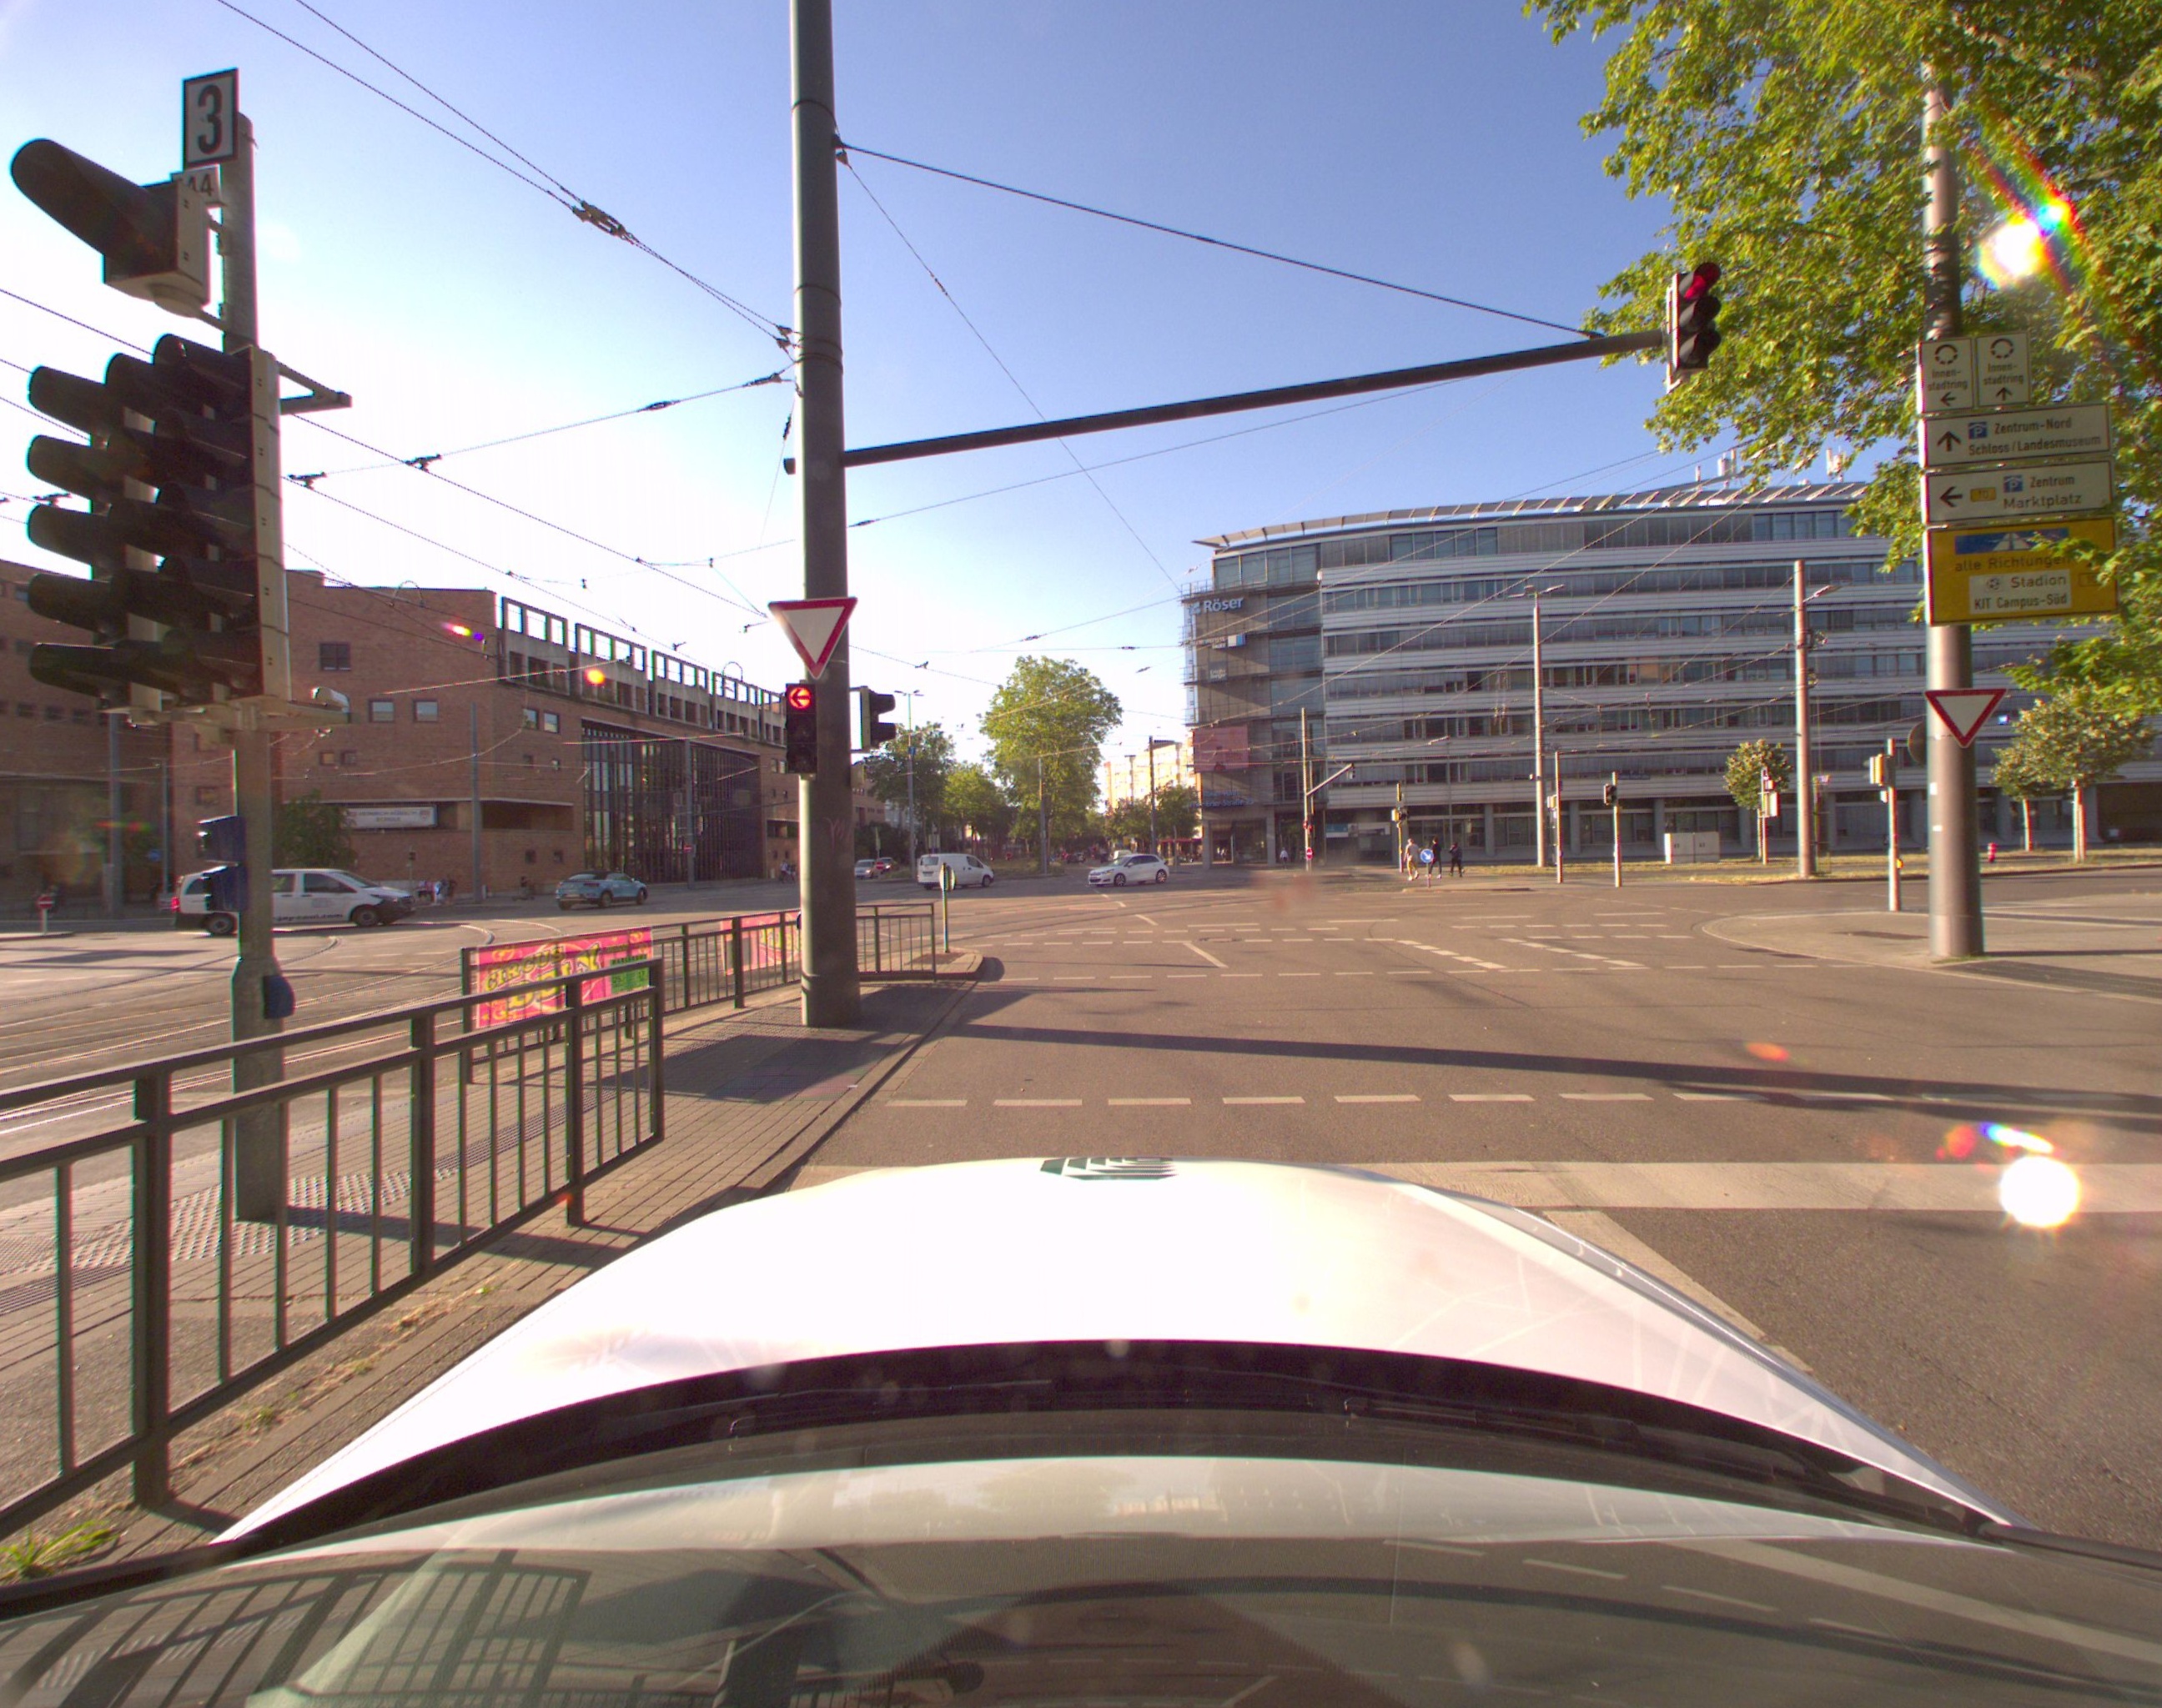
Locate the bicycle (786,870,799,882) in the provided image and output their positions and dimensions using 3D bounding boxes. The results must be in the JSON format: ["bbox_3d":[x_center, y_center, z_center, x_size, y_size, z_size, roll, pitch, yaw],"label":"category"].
[{"bbox_3d":[-23.563,1.791,66.573,0.471,0.963,1.576,-2,0,2],"label":"bicycle"}]

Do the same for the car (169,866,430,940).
[{"bbox_3d":[-23.521,1.404,24.860,5.340,1.848,1.951,-2,0,-26],"label":"car"}]

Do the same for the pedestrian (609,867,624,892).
[{"bbox_3d":[-32.175,1.762,56.388,0.606,1.625,0.621,-2,0,16],"label":"pedestrian"}]

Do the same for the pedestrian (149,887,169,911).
[{"bbox_3d":[-58.909,2.856,52.043,0.532,1.463,0.589,-2,0,-11],"label":"pedestrian"}]

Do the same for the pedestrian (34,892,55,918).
[{"bbox_3d":[-59.980,2.929,47.126,0.508,1.463,0.466,-2,0,-6],"label":"pedestrian"}]

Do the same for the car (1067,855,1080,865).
[{"bbox_3d":[-1.213,0.875,126.450,1.791,1.442,4.002,-2,0,2],"label":"car"}]

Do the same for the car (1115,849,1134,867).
[{"bbox_3d":[4.746,0.448,89.645,1.986,1.860,4.002,-2,0,2],"label":"car"}]

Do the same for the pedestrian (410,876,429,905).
[{"bbox_3d":[-38.465,2.130,47.341,0.594,1.614,0.589,-2,0,1],"label":"pedestrian"}]

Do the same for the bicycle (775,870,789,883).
[{"bbox_3d":[-24.340,1.848,66.319,0.540,0.963,1.587,-2,0,2],"label":"bicycle"}]

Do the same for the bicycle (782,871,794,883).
[{"bbox_3d":[-24.954,1.973,69.318,0.466,0.963,1.320,-2,0,2],"label":"bicycle"}]

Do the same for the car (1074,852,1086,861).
[{"bbox_3d":[-0.168,0.464,139.403,1.791,1.442,4.002,-2,0,2],"label":"car"}]

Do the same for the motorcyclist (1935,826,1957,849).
[{"bbox_3d":[49.536,-0.953,46.624,0.708,1.275,0.460,-2,0,5],"label":"motorcyclist"}]

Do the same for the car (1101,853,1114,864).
[{"bbox_3d":[4.097,0.655,126.783,1.986,1.618,4.002,-2,0,2],"label":"car"}]

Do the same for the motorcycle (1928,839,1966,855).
[{"bbox_3d":[49.545,-0.394,46.612,1.560,0.810,0.468,-2,0,6],"label":"motorcycle"}]

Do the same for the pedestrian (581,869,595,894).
[{"bbox_3d":[-33.740,1.851,55.706,0.569,1.683,0.550,-2,0,3],"label":"pedestrian"}]

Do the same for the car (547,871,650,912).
[{"bbox_3d":[-19.664,1.505,33.391,1.621,1.426,4.105,-2,0,2],"label":"car"}]

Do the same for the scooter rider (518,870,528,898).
[{"bbox_3d":[-33.710,1.798,49.191,0.441,1.647,0.226,-2,0,-44],"label":"scooter rider"}]

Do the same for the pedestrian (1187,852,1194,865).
[{"bbox_3d":[14.135,0.564,104.788,0.741,1.714,0.612,-2,0,1],"label":"pedestrian"}]

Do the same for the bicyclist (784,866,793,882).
[{"bbox_3d":[-24.930,1.705,69.378,0.503,1.304,0.581,-2,0,1],"label":"bicyclist"}]

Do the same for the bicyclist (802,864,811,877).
[{"bbox_3d":[-24.377,1.458,72.317,0.503,1.179,0.581,-2,0,1],"label":"bicyclist"}]

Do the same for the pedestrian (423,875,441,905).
[{"bbox_3d":[-37.553,2.072,47.127,0.597,1.648,0.549,-2,0,1],"label":"pedestrian"}]

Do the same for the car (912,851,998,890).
[{"bbox_3d":[-6.564,0.828,42.867,1.738,1.867,4.554,-2,0,35],"label":"car"}]

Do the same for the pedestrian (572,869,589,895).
[{"bbox_3d":[-33.540,1.879,54.570,0.644,1.683,0.624,-2,0,13],"label":"pedestrian"}]

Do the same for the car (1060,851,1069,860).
[{"bbox_3d":[-4.048,0.413,201.855,1.986,2.013,4.001,-2,0,1],"label":"car"}]

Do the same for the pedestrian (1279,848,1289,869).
[{"bbox_3d":[14.795,0.323,59.299,0.609,1.507,0.580,-2,0,5],"label":"pedestrian"}]

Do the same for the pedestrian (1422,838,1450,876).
[{"bbox_3d":[16.365,0.145,37.570,0.907,1.685,1.038,-2,0,9],"label":"pedestrian"}]

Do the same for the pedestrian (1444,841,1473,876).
[{"bbox_3d":[17.336,0.198,37.435,0.943,1.564,0.899,-2,0,9],"label":"pedestrian"}]

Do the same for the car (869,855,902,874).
[{"bbox_3d":[-18.114,0.957,75.534,1.987,1.640,4.001,-2,0,1],"label":"car"}]

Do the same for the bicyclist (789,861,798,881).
[{"bbox_3d":[-23.544,1.382,66.607,0.456,1.603,0.581,-2,0,1],"label":"bicyclist"}]

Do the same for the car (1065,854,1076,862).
[{"bbox_3d":[-1.909,0.794,147.455,1.792,1.442,3.999,0,-1,0],"label":"car"}]

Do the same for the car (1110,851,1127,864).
[{"bbox_3d":[4.824,0.476,105.301,1.986,1.618,4.002,-2,0,2],"label":"car"}]

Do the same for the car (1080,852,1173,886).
[{"bbox_3d":[2.269,0.705,40.009,4.326,1.488,1.743,-2,0,-33],"label":"car"}]

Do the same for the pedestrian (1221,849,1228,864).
[{"bbox_3d":[14.104,0.245,79.992,0.608,1.507,0.580,-2,0,9],"label":"pedestrian"}]

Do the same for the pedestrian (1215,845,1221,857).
[{"bbox_3d":[21.446,-0.472,127.346,0.741,1.714,0.612,-2,0,1],"label":"pedestrian"}]

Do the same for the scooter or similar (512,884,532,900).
[{"bbox_3d":[-33.727,2.270,49.158,0.956,0.899,0.173,-2,0,-45],"label":"scooter or similar"}]

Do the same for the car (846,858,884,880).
[{"bbox_3d":[-18.004,1.213,67.959,1.987,1.640,4.001,-2,0,1],"label":"car"}]

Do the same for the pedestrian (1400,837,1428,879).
[{"bbox_3d":[14.669,0.173,35.904,0.860,1.788,0.872,-2,0,1],"label":"pedestrian"}]

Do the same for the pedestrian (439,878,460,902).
[{"bbox_3d":[-36.537,2.064,47.101,0.597,1.339,0.684,-2,0,17],"label":"pedestrian"}]

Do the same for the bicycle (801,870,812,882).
[{"bbox_3d":[-24.358,1.942,72.229,0.449,0.963,1.348,-2,0,2],"label":"bicycle"}]

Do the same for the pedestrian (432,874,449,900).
[{"bbox_3d":[-38.036,1.958,48.366,0.568,1.453,0.612,-2,0,-13],"label":"pedestrian"}]

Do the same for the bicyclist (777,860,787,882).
[{"bbox_3d":[-24.316,1.360,66.320,0.534,1.731,0.581,-2,0,1],"label":"bicyclist"}]

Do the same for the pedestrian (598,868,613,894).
[{"bbox_3d":[-31.869,1.830,54.566,0.585,1.683,0.553,-2,0,19],"label":"pedestrian"}]
